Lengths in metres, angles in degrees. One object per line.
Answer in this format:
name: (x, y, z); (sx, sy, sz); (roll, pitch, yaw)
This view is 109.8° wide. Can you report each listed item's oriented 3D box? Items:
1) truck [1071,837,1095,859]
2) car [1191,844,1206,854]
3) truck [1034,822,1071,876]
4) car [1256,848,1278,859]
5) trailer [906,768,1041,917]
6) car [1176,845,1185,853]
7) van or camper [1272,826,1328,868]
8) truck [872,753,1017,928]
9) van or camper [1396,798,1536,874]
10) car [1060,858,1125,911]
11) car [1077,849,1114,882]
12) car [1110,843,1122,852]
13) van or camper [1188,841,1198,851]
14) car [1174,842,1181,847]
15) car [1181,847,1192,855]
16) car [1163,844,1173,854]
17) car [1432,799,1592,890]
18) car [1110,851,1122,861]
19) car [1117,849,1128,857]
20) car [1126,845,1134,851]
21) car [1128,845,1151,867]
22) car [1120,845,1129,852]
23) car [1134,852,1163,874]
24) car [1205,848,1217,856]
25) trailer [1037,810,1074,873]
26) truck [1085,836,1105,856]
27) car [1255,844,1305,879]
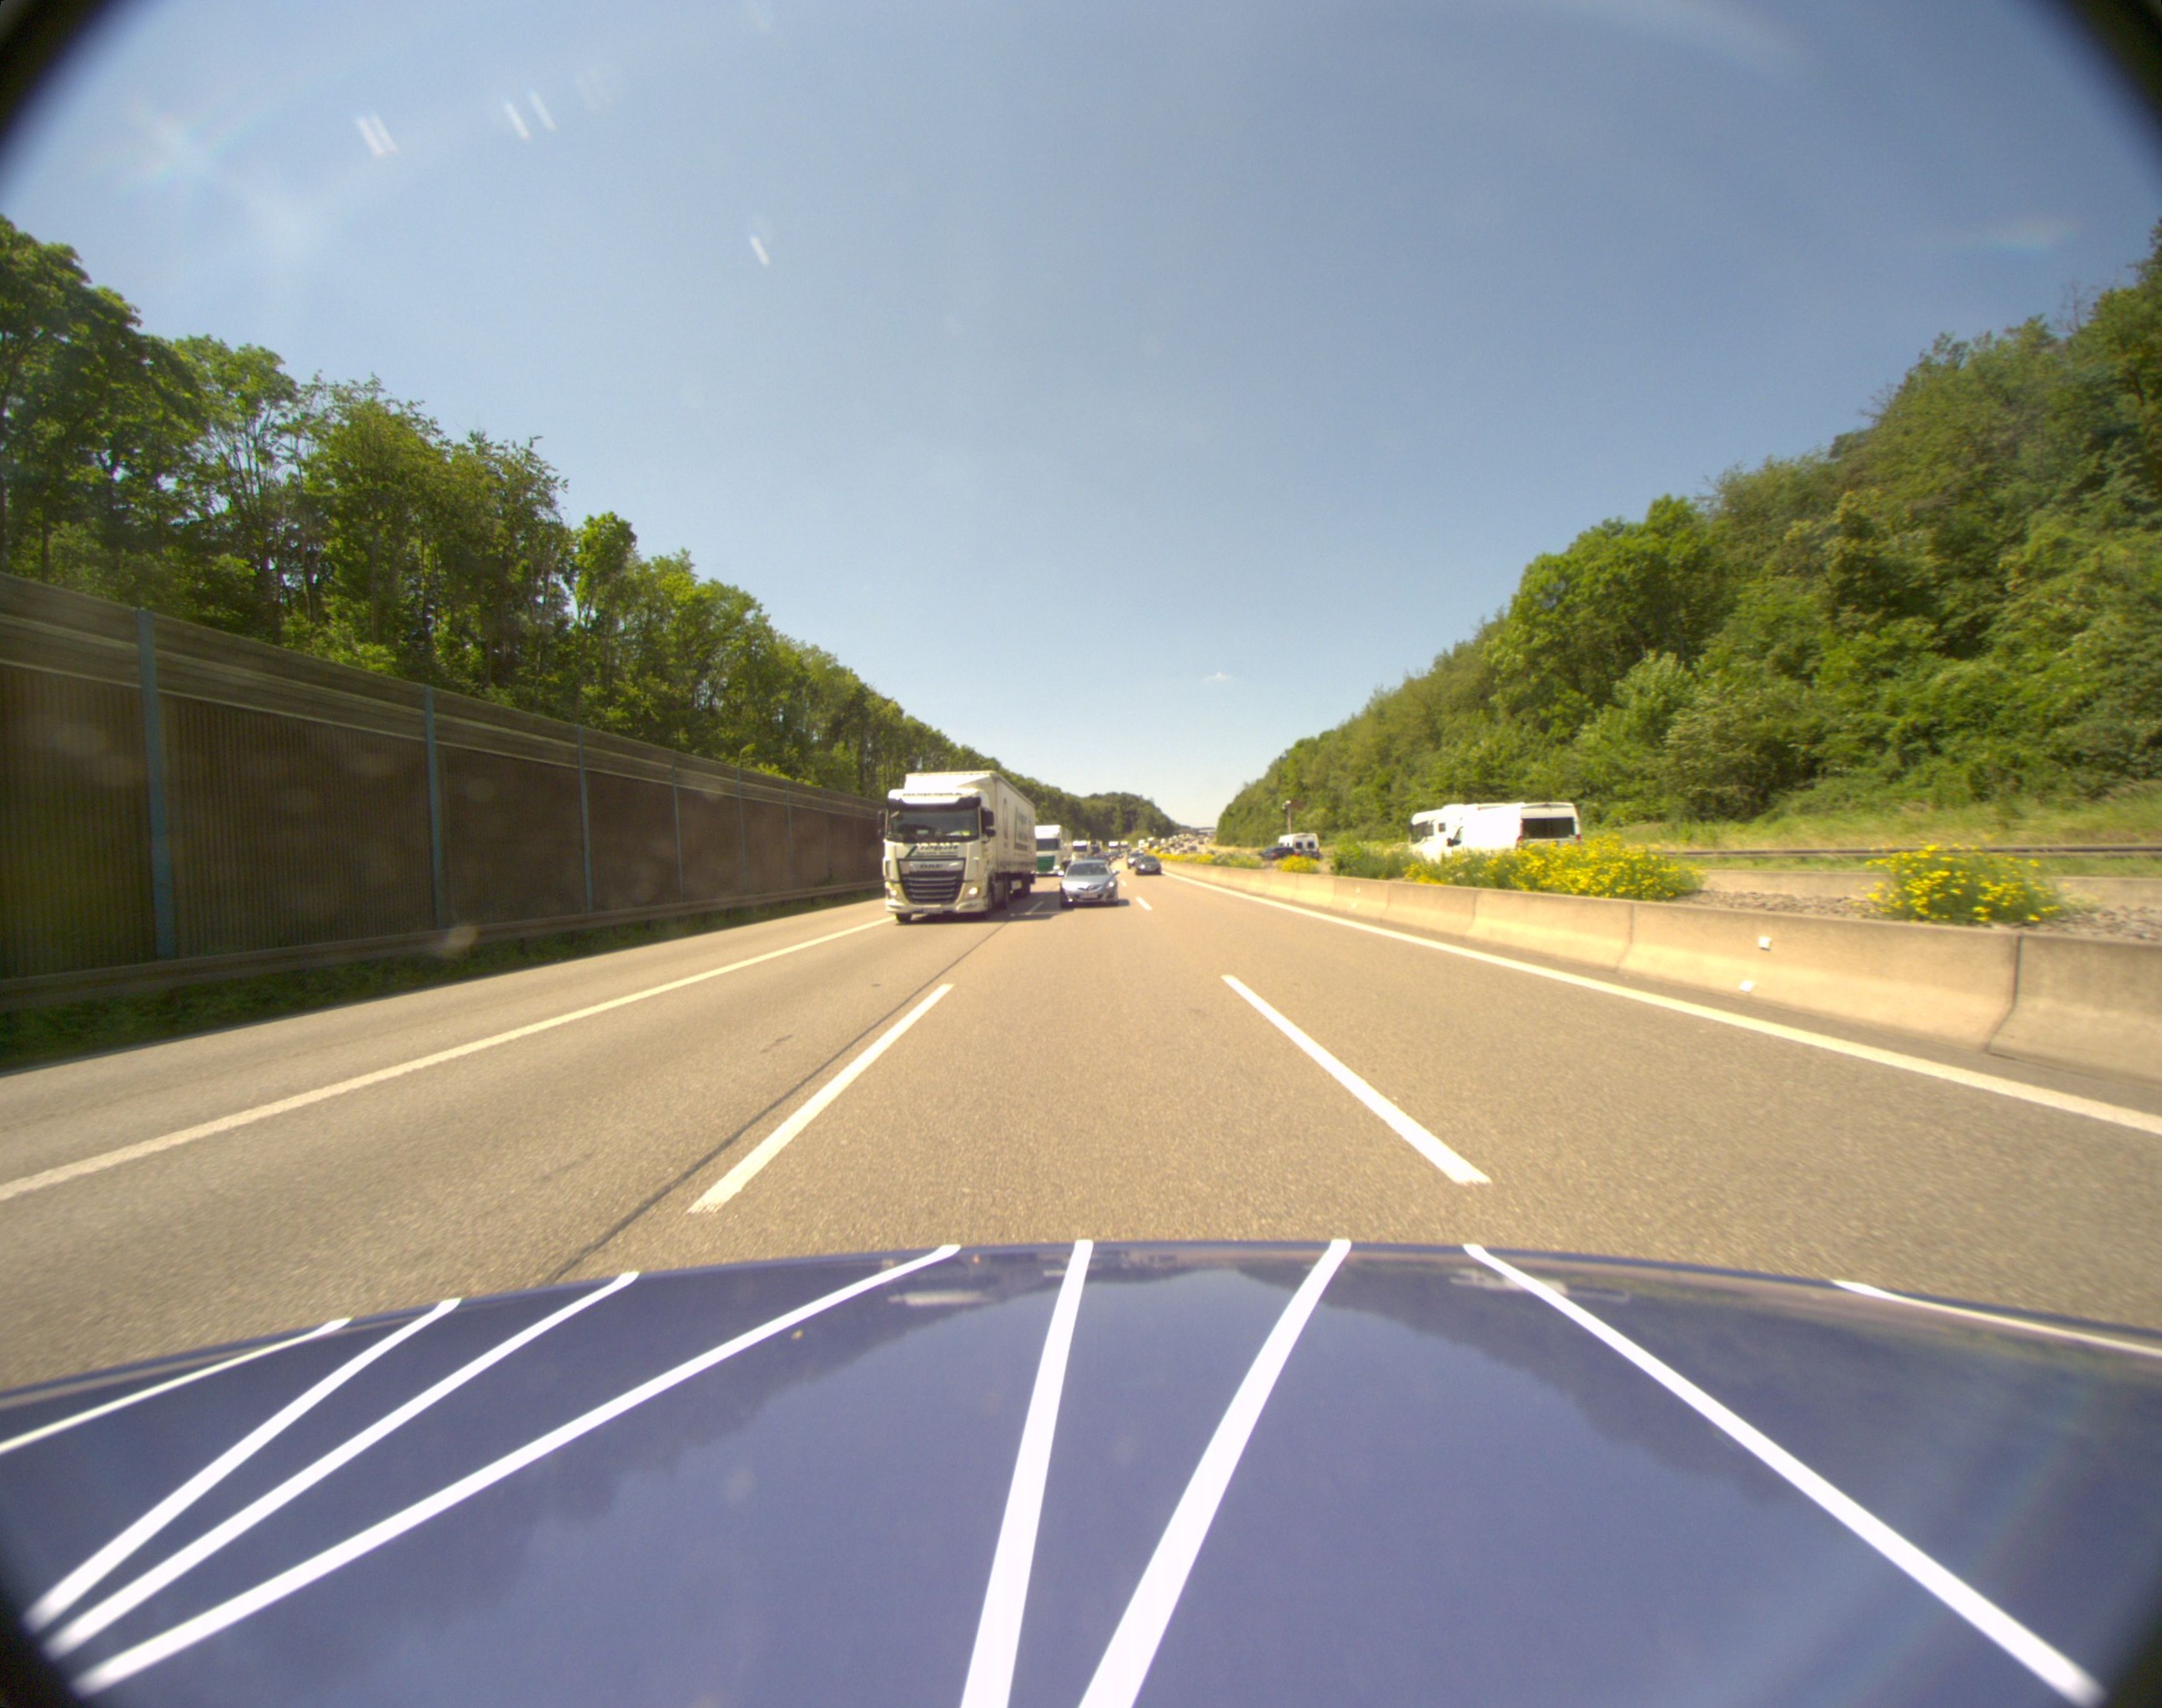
truck: (0.351, -0.962, 121.013); (3.262, 3.337, 6.864); (-2, 1, 5)
car: (19.982, -0.827, 129.671); (1.998, 1.577, 4.273); (-2, 0, 2)
truck: (-2.186, -0.466, 60.776); (2.542, 4.006, 6.623); (-2, 1, 0)
car: (25.356, -0.120, 103.611); (1.998, 1.424, 4.191); (-2, 0, 1)
trailer: (-3.457, -0.312, 28.470); (2.793, 4.180, 13.244); (-2, 0, 1)
car: (25.676, -1.371, 195.743); (1.998, 2.002, 4.568); (-2, 1, 4)
van or camper: (16.124, -0.499, 56.290); (2.263, 2.882, 6.556); (-2, 0, 1)
truck: (-3.584, -0.308, 21.543); (2.793, 4.180, 5.869); (-2, 0, 1)
van or camper: (19.104, -0.898, 38.519); (2.546, 3.298, 9.000); (-2, 1, 0)
car: (0.340, 0.914, 24.649); (1.887, 1.459, 4.247); (-2, 0, 0)
car: (0.797, 0.593, 41.888); (1.887, 1.696, 4.084); (-2, 0, 1)
car: (10.416, -1.832, 225.167); (2.696, 2.468, 6.586); (-2, 1, 8)
van or camper: (30.362, -2.221, 206.123); (2.191, 2.546, 6.932); (-2, 1, 3)
car: (32.362, -3.196, 255.704); (1.998, 1.681, 4.401); (-2, 1, 5)
car: (22.657, -0.608, 163.085); (1.998, 1.581, 4.162); (-2, 1, 2)
car: (18.883, -1.037, 165.401); (1.998, 2.002, 4.000); (-2, 1, 4)
car: (14.549, -0.288, 26.200); (2.206, 2.725, 5.746); (-2, 0, 0)
car: (6.763, 0.441, 145.827); (1.998, 1.728, 4.001); (-2, 1, 6)
car: (9.245, -0.205, 169.974); (1.997, 1.728, 4.001); (-2, 1, 8)
car: (14.720, -1.727, 228.759); (1.998, 1.728, 4.001); (-2, 1, 6)
car: (5.879, 0.175, 76.877); (1.999, 2.002, 3.999); (-2, 1, 0)
car: (11.023, -1.351, 193.303); (1.998, 1.728, 4.001); (-2, 1, 6)
car: (4.903, 0.623, 55.431); (1.720, 1.470, 3.999); (-2, 0, 0)
car: (24.621, -0.340, 143.836); (1.792, 1.448, 3.999); (-2, 1, 2)
trailer: (-2.162, -1.178, 69.143); (2.574, 5.012, 15.268); (-2, 1, 0)
truck: (2.841, -1.647, 153.228); (3.557, 3.695, 7.551); (-2, 1, 4)
car: (11.776, 0.391, 45.266); (1.998, 1.914, 4.000); (-2, 0, 2)
